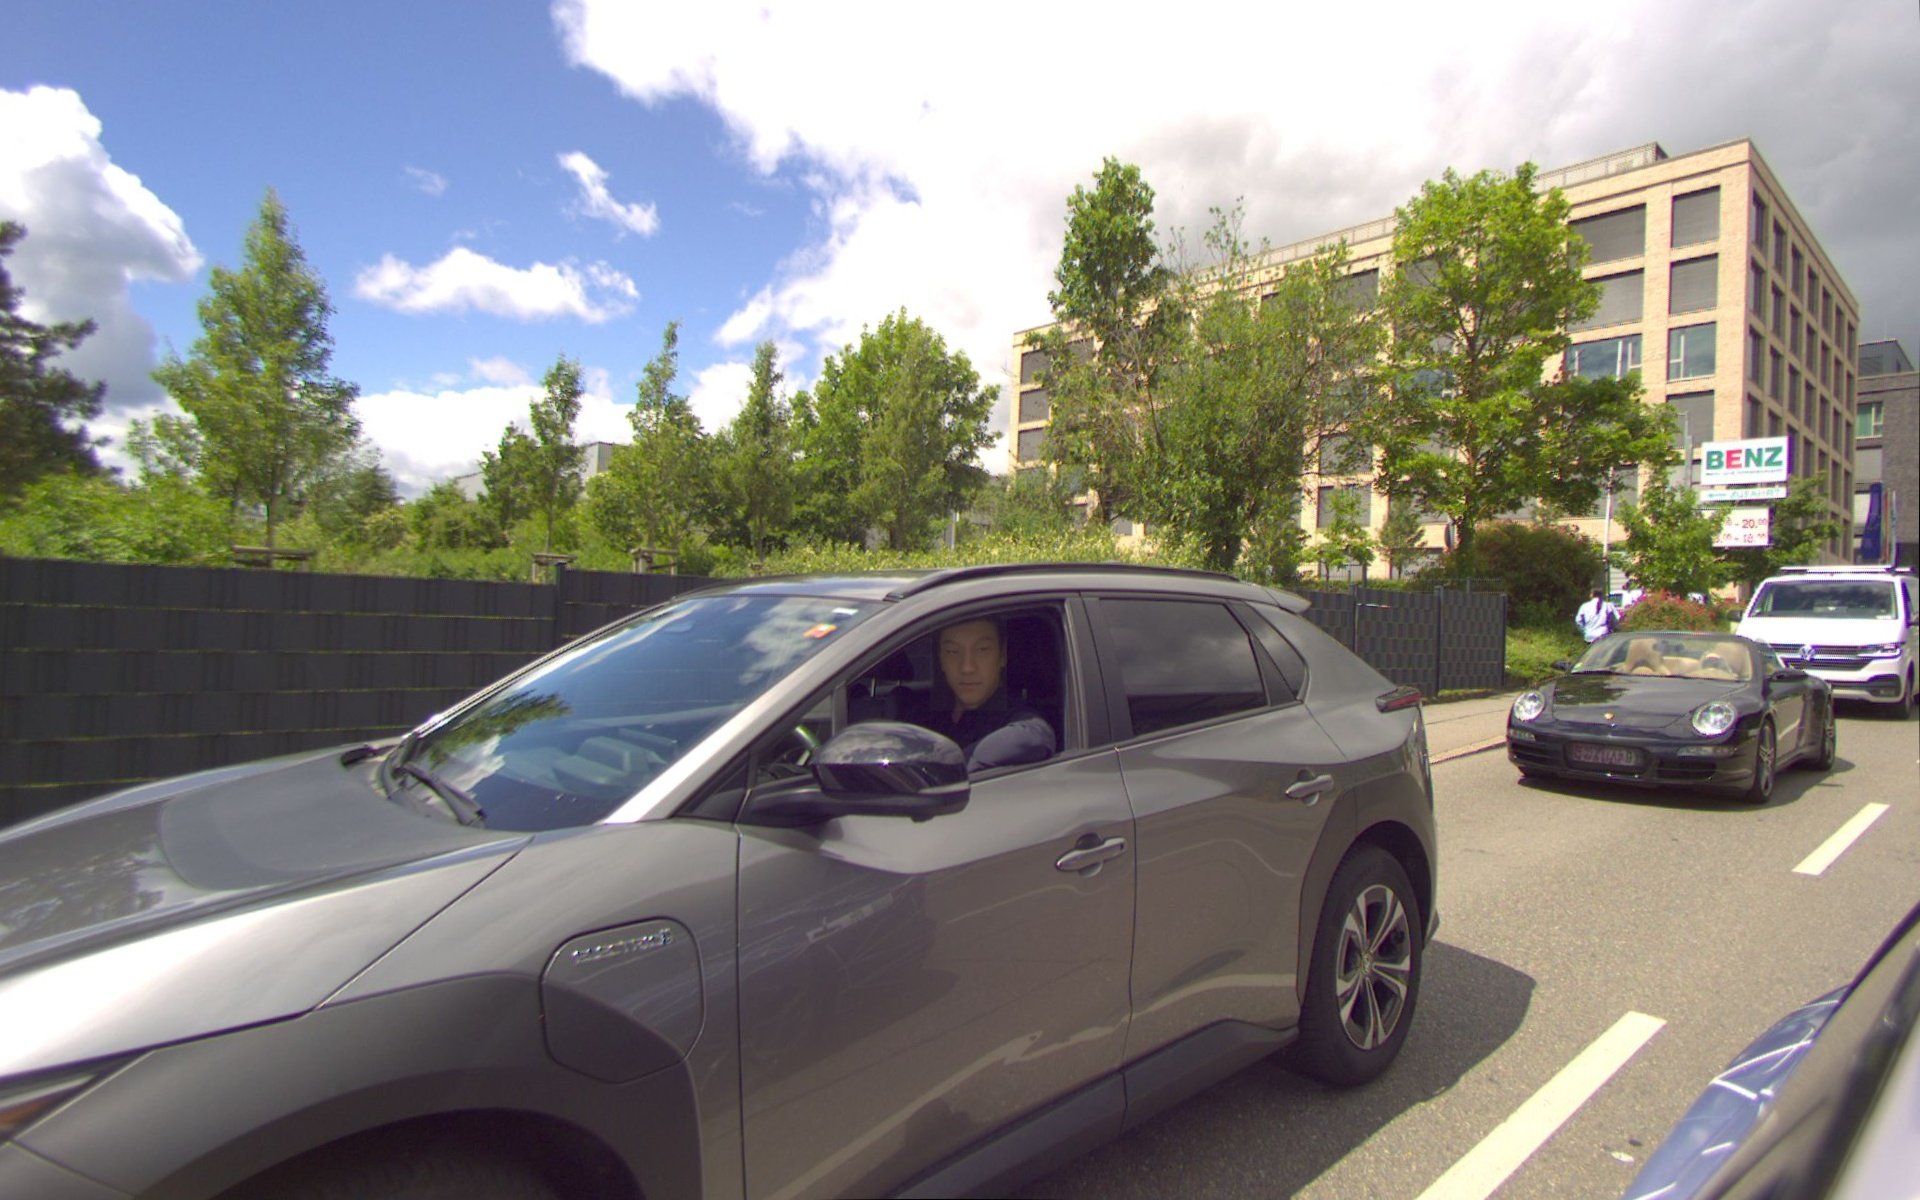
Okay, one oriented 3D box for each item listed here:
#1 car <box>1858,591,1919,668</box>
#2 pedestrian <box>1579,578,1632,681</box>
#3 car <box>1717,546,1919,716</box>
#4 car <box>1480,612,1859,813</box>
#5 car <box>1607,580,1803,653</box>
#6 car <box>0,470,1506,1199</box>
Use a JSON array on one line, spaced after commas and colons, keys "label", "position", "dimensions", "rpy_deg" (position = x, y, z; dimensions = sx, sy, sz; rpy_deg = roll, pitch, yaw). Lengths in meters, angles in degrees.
[{"label": "car", "position": [20.236, 0.581, 21.055], "dimensions": [3.930, 1.481, 1.817], "rpy_deg": [0, 2, -41]}, {"label": "pedestrian", "position": [10.821, 0.471, 16.958], "dimensions": [0.435, 1.678, 0.631], "rpy_deg": [0, 1, -42]}, {"label": "car", "position": [12.861, 0.369, 14.663], "dimensions": [4.677, 2.075, 2.087], "rpy_deg": [0, 0, -41]}, {"label": "car", "position": [6.345, 0.788, 8.895], "dimensions": [3.967, 1.310, 1.823], "rpy_deg": [0, 0, -41]}, {"label": "car", "position": [19.980, 0.376, 27.260], "dimensions": [1.793, 1.754, 3.991], "rpy_deg": [0, 2, -44]}, {"label": "car", "position": [-0.356, 0.669, 2.941], "dimensions": [4.501, 1.649, 1.997], "rpy_deg": [0, 1, -42]}]
